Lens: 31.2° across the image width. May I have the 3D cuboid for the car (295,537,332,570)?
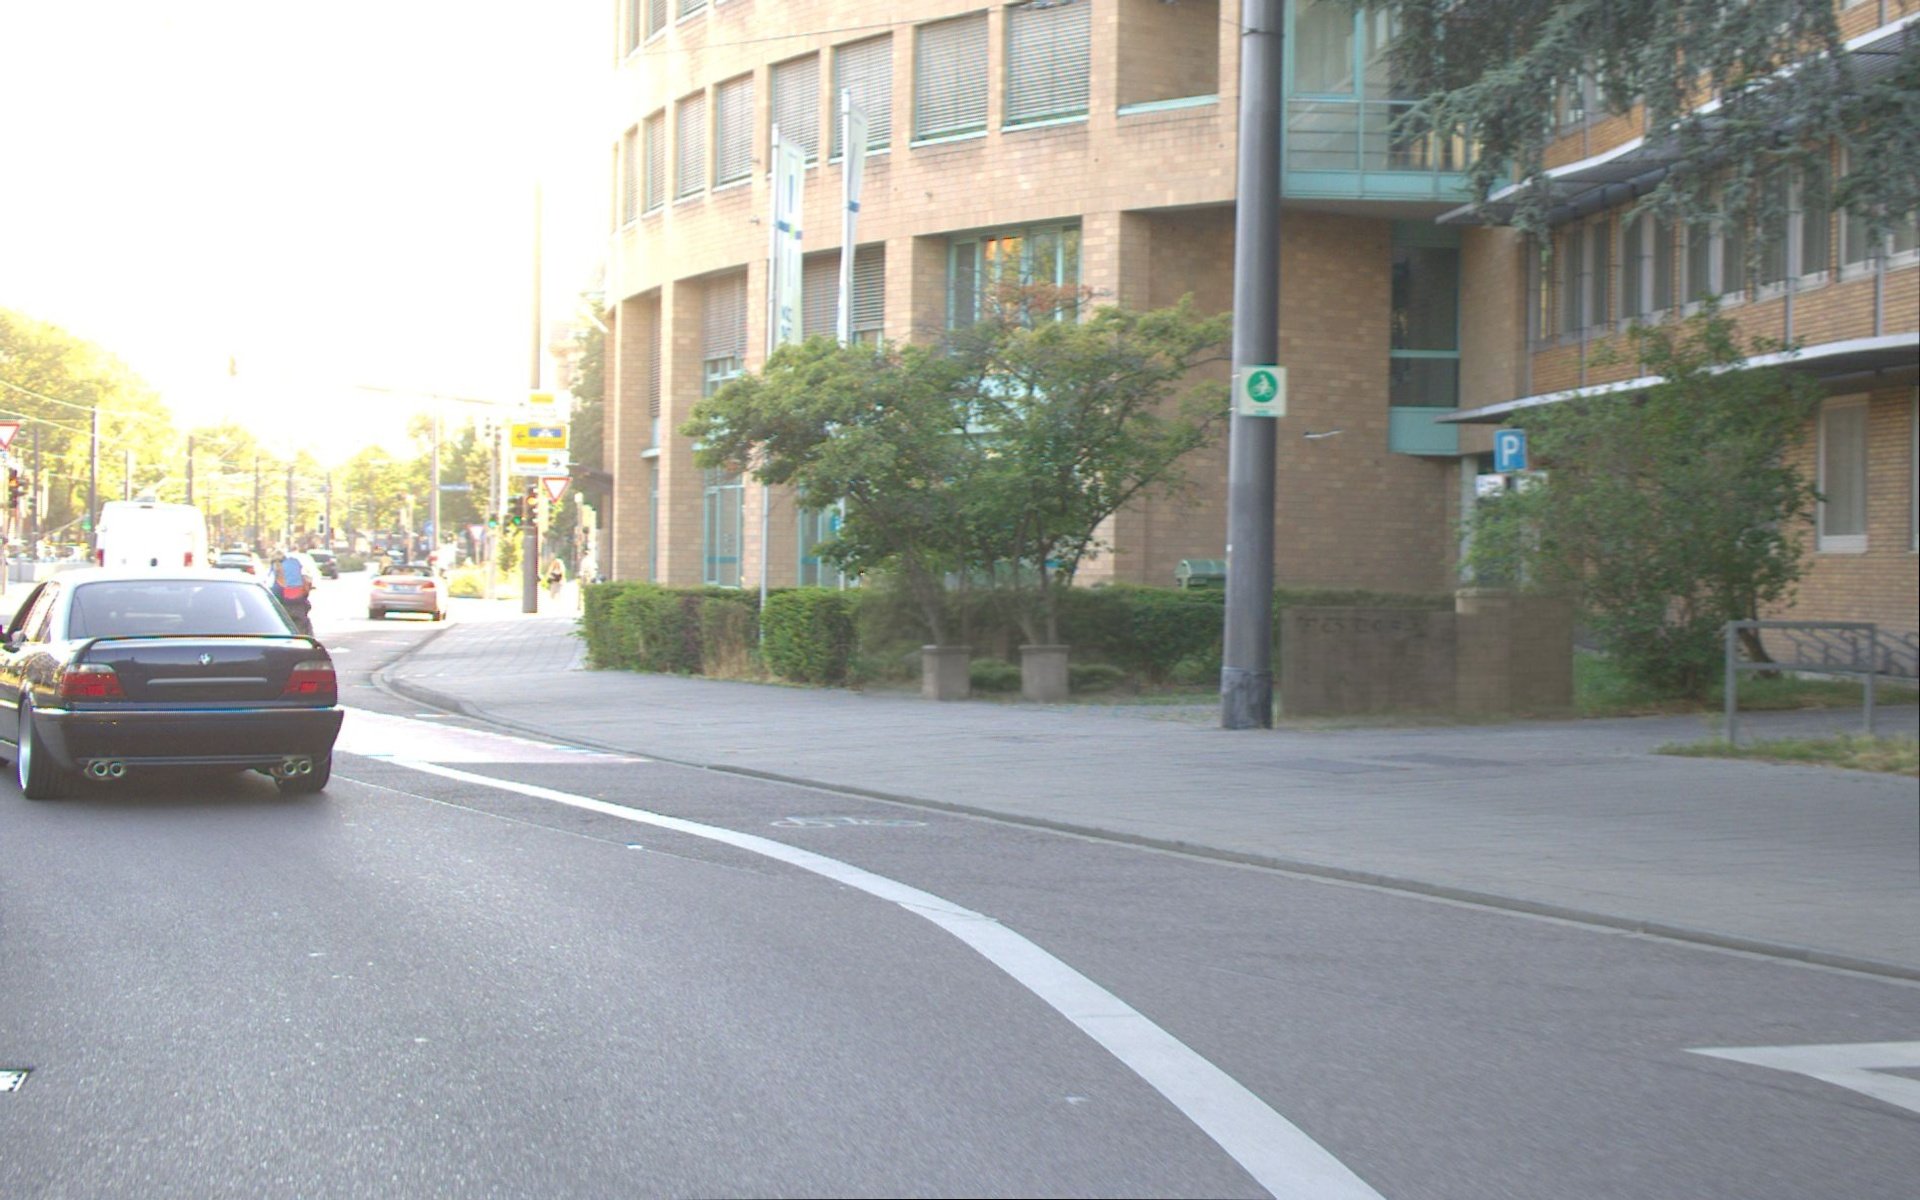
[{"bbox_3d":[-33.482,-2.419,178.150,1.794,1.560,4.001,1,2,-10],"label":"car"}]

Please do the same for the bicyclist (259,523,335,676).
[{"bbox_3d":[-6.611,-0.010,34.252,0.655,1.478,1.038,3,0,-12],"label":"bicyclist"}]

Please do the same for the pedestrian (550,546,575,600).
[{"bbox_3d":[-11.608,-0.787,100.314,0.676,1.564,0.800,1,2,-8],"label":"pedestrian"}]

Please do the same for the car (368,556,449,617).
[{"bbox_3d":[-13.633,-0.352,85.150,1.783,1.349,4.268,2,1,-7],"label":"car"}]

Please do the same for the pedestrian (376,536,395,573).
[{"bbox_3d":[-22.873,-1.815,136.903,0.616,1.470,0.800,1,2,-2],"label":"pedestrian"}]

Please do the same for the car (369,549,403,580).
[{"bbox_3d":[-31.955,-1.983,191.377,1.794,1.560,4.001,1,2,-10],"label":"car"}]

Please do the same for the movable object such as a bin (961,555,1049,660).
[{"bbox_3d":[0.647,0.099,48.891,0.971,1.432,1.344,1,2,13],"label":"movable object such as a bin"}]

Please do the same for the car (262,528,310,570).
[{"bbox_3d":[-26.878,-2.056,137.206,1.794,1.560,4.001,1,2,-10],"label":"car"}]

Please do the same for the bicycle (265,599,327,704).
[{"bbox_3d":[-6.614,0.502,34.208,0.515,0.951,1.776,2,1,-13],"label":"bicycle"}]

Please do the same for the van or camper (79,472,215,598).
[{"bbox_3d":[-17.635,-1.443,74.806,2.262,2.616,4.504,1,2,-5],"label":"van or camper"}]

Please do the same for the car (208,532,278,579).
[{"bbox_3d":[-22.728,-1.433,109.117,1.737,1.381,4.001,1,2,-5],"label":"car"}]

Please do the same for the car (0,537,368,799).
[{"bbox_3d":[-5.249,0.359,22.268,1.829,1.349,4.643,1,3,-22],"label":"car"}]

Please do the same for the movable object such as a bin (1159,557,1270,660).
[{"bbox_3d":[3.618,0.116,48.900,1.340,1.419,0.924,0,2,-13],"label":"movable object such as a bin"}]
